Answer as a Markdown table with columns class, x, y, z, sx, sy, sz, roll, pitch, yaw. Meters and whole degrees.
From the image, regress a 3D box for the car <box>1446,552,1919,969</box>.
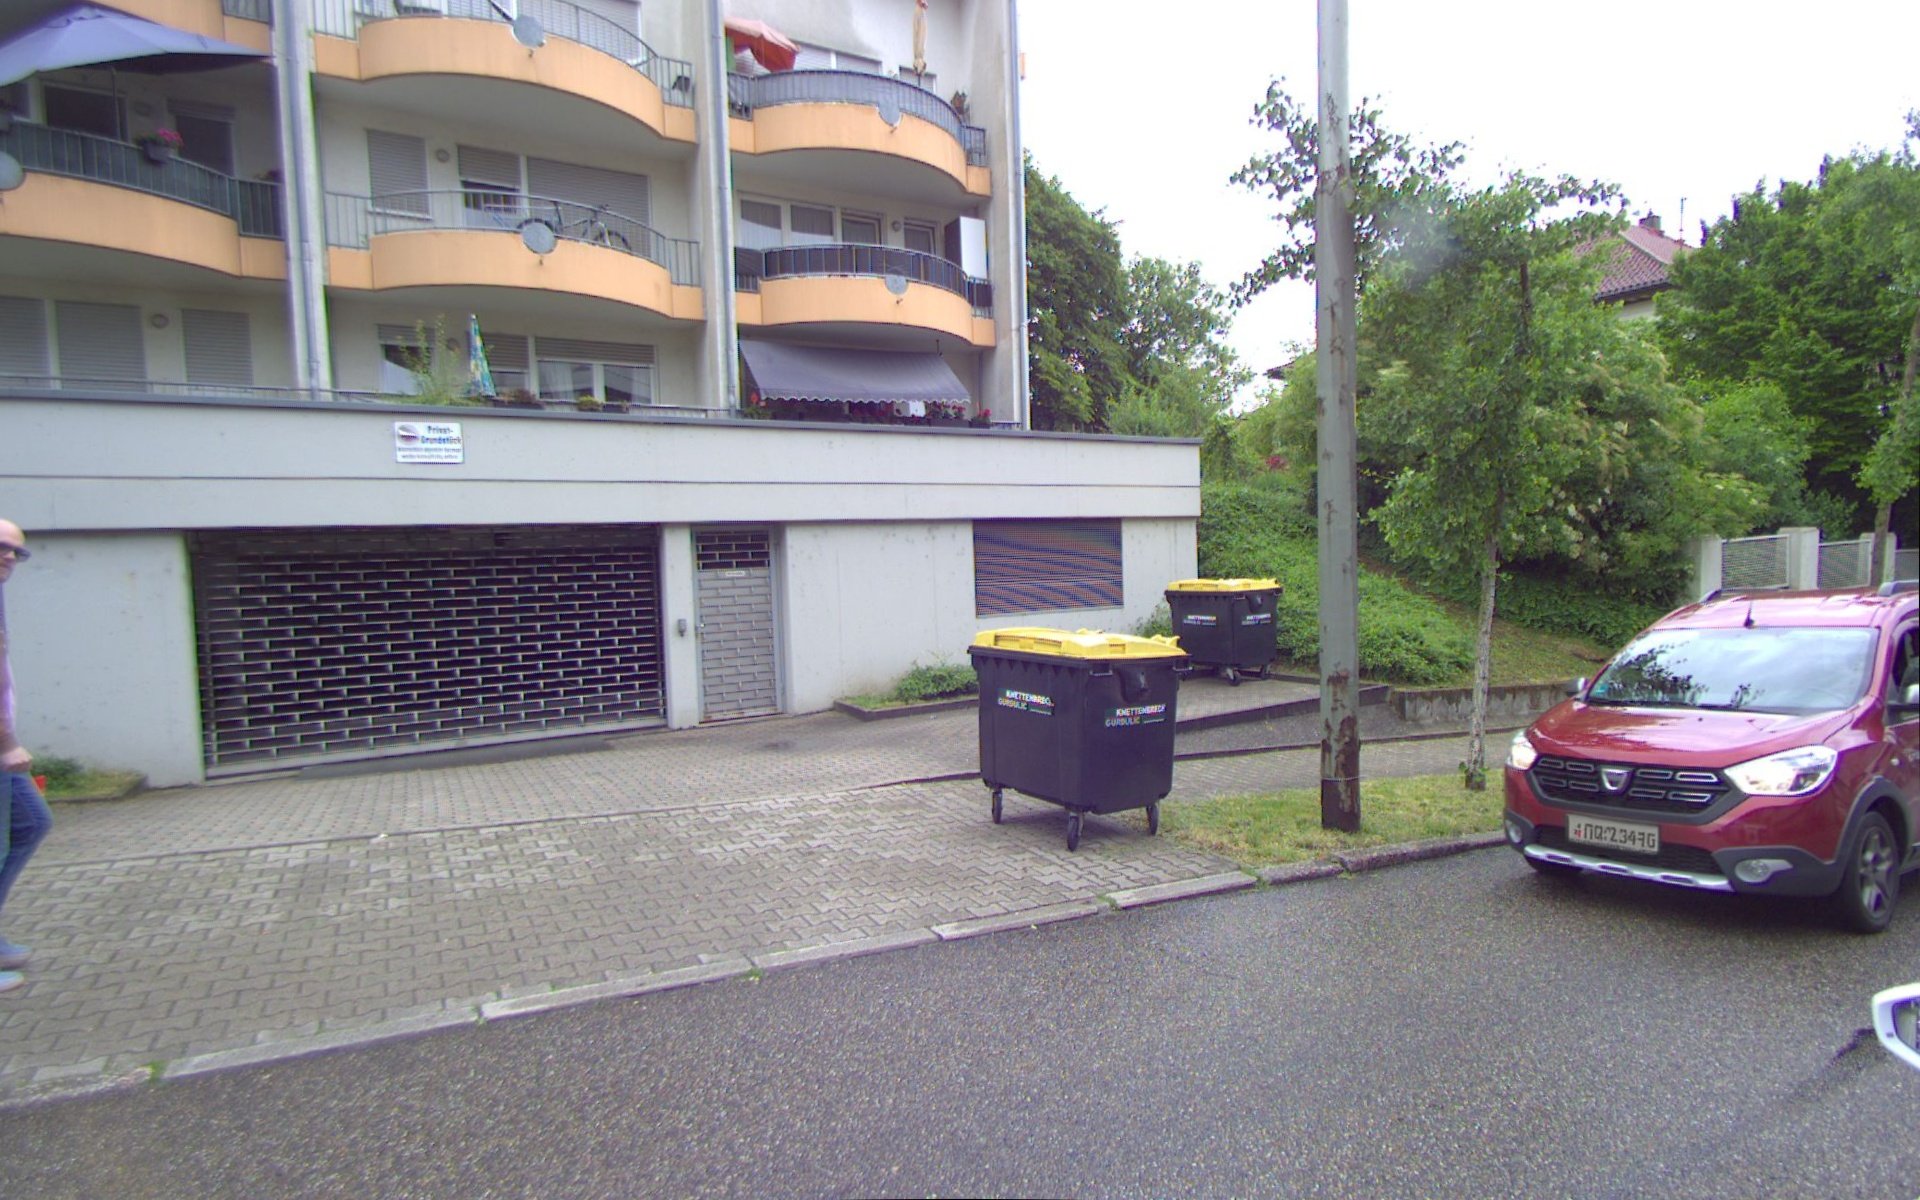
| class | x | y | z | sx | sy | sz | roll | pitch | yaw |
| --- | --- | --- | --- | --- | --- | --- | --- | --- | --- |
| car | 5.224 | 0.777 | 6.349 | 4.406 | 1.852 | 1.738 | 2 | -2 | -30 |

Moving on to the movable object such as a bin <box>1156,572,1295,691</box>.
| class | x | y | z | sx | sy | sz | roll | pitch | yaw |
| --- | --- | --- | --- | --- | --- | --- | --- | --- | --- |
| movable object such as a bin | 3.539 | 0.371 | 13.405 | 1.215 | 1.383 | 1.289 | -7 | 6 | -36 |

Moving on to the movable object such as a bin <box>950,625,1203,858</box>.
| class | x | y | z | sx | sy | sz | roll | pitch | yaw |
| --- | --- | --- | --- | --- | --- | --- | --- | --- | --- |
| movable object such as a bin | 0.779 | 0.874 | 6.883 | 1.145 | 1.324 | 1.288 | 0 | 2 | -38 |

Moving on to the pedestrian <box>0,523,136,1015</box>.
| class | x | y | z | sx | sy | sz | roll | pitch | yaw |
| --- | --- | --- | --- | --- | --- | --- | --- | --- | --- |
| pedestrian | -3.905 | 0.599 | 3.860 | 1.063 | 1.806 | 0.816 | 1 | 2 | -36 |

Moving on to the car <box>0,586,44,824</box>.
| class | x | y | z | sx | sy | sz | roll | pitch | yaw |
| --- | --- | --- | --- | --- | --- | --- | --- | --- | --- |
| car | -8.128 | 0.672 | 5.654 | 4.050 | 1.582 | 1.770 | 1 | -4 | -31 |
